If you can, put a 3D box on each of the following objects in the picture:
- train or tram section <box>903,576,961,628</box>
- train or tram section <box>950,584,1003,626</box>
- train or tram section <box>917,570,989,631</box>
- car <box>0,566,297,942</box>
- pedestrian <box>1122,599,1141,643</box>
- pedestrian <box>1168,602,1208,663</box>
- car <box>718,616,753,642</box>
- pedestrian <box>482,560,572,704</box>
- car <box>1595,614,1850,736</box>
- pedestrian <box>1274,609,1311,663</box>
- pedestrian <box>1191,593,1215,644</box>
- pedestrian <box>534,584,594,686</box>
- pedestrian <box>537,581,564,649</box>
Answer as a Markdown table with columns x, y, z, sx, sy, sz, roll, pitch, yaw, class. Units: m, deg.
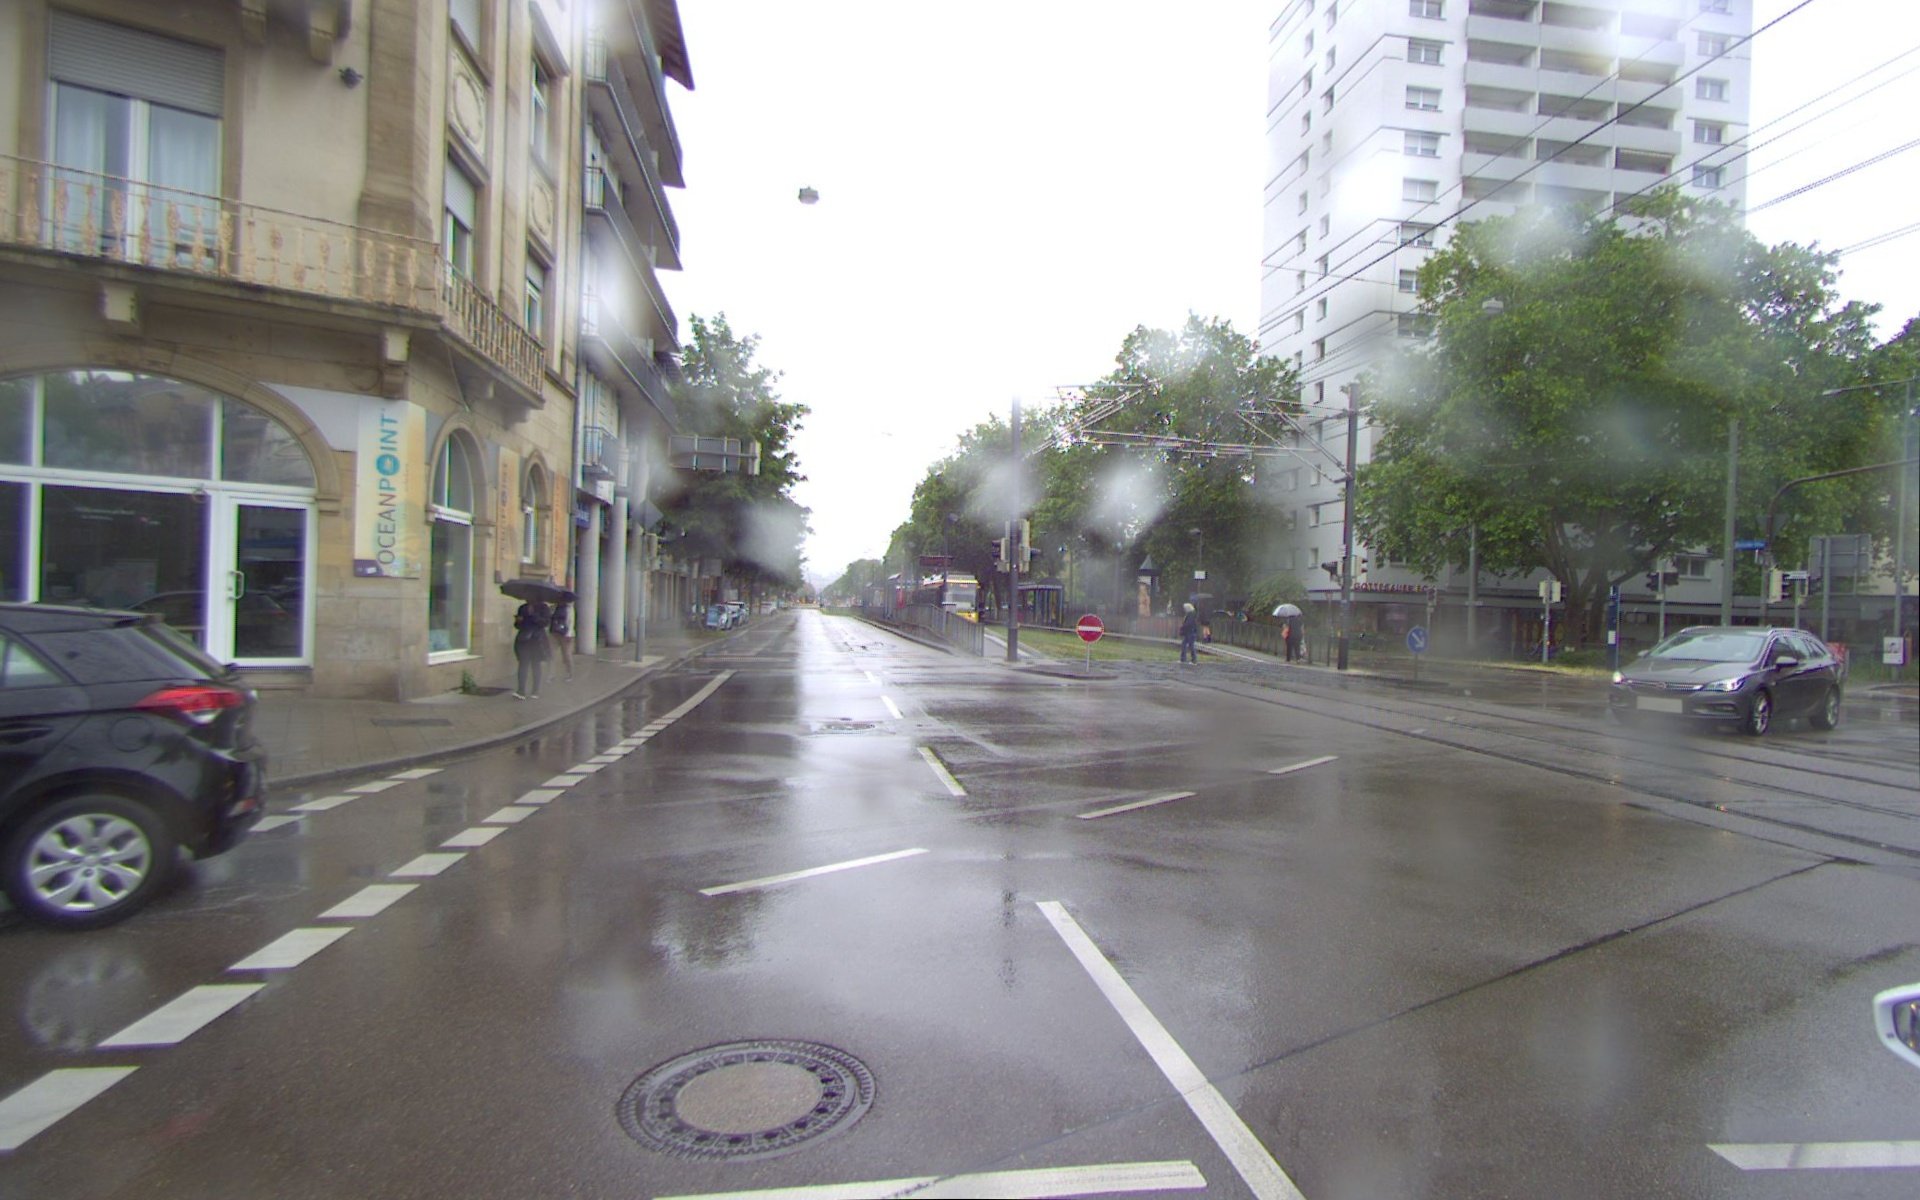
| x | y | z | sx | sy | sz | roll | pitch | yaw | class |
| --- | --- | --- | --- | --- | --- | --- | --- | --- | --- |
| -2.294 | 0.207 | 76.828 | 3.016 | 3.550 | 11.561 | 2 | -1 | -8 | train or tram section |
| 1.387 | 0.516 | 93.521 | 3.016 | 3.550 | 11.561 | 2 | -1 | -8 | train or tram section |
| -0.646 | 0.076 | 65.433 | 3.016 | 3.550 | 11.561 | 2 | -1 | -8 | train or tram section |
| -5.209 | 0.636 | 4.445 | 3.737 | 1.567 | 1.733 | 1 | 0 | -33 | car |
| 8.198 | 1.002 | 47.973 | 0.626 | 2.105 | 0.700 | 2 | 0 | -13 | pedestrian |
| 6.374 | 0.908 | 28.105 | 0.744 | 1.670 | 0.835 | 2 | -1 | -17 | pedestrian |
| -13.590 | 1.741 | 60.897 | 1.792 | 1.439 | 3.993 | 2 | 0 | -10 | car |
| -6.313 | 0.461 | 14.692 | 0.904 | 1.991 | 0.700 | 5 | -1 | -7 | pedestrian |
| 11.462 | 1.061 | 15.020 | 4.294 | 1.567 | 1.716 | 2 | -1 | -34 | car |
| 10.448 | 1.123 | 31.590 | 0.780 | 1.670 | 0.815 | 1 | -1 | -9 | pedestrian |
| 9.175 | 0.697 | 37.899 | 0.628 | 1.863 | 0.678 | 1 | -1 | -10 | pedestrian |
| -6.882 | 0.603 | 17.489 | 0.728 | 1.680 | 0.742 | 5 | -1 | -13 | pedestrian |
| -11.042 | 0.401 | 27.113 | 0.490 | 1.804 | 0.610 | 2 | 0 | -8 | pedestrian |
